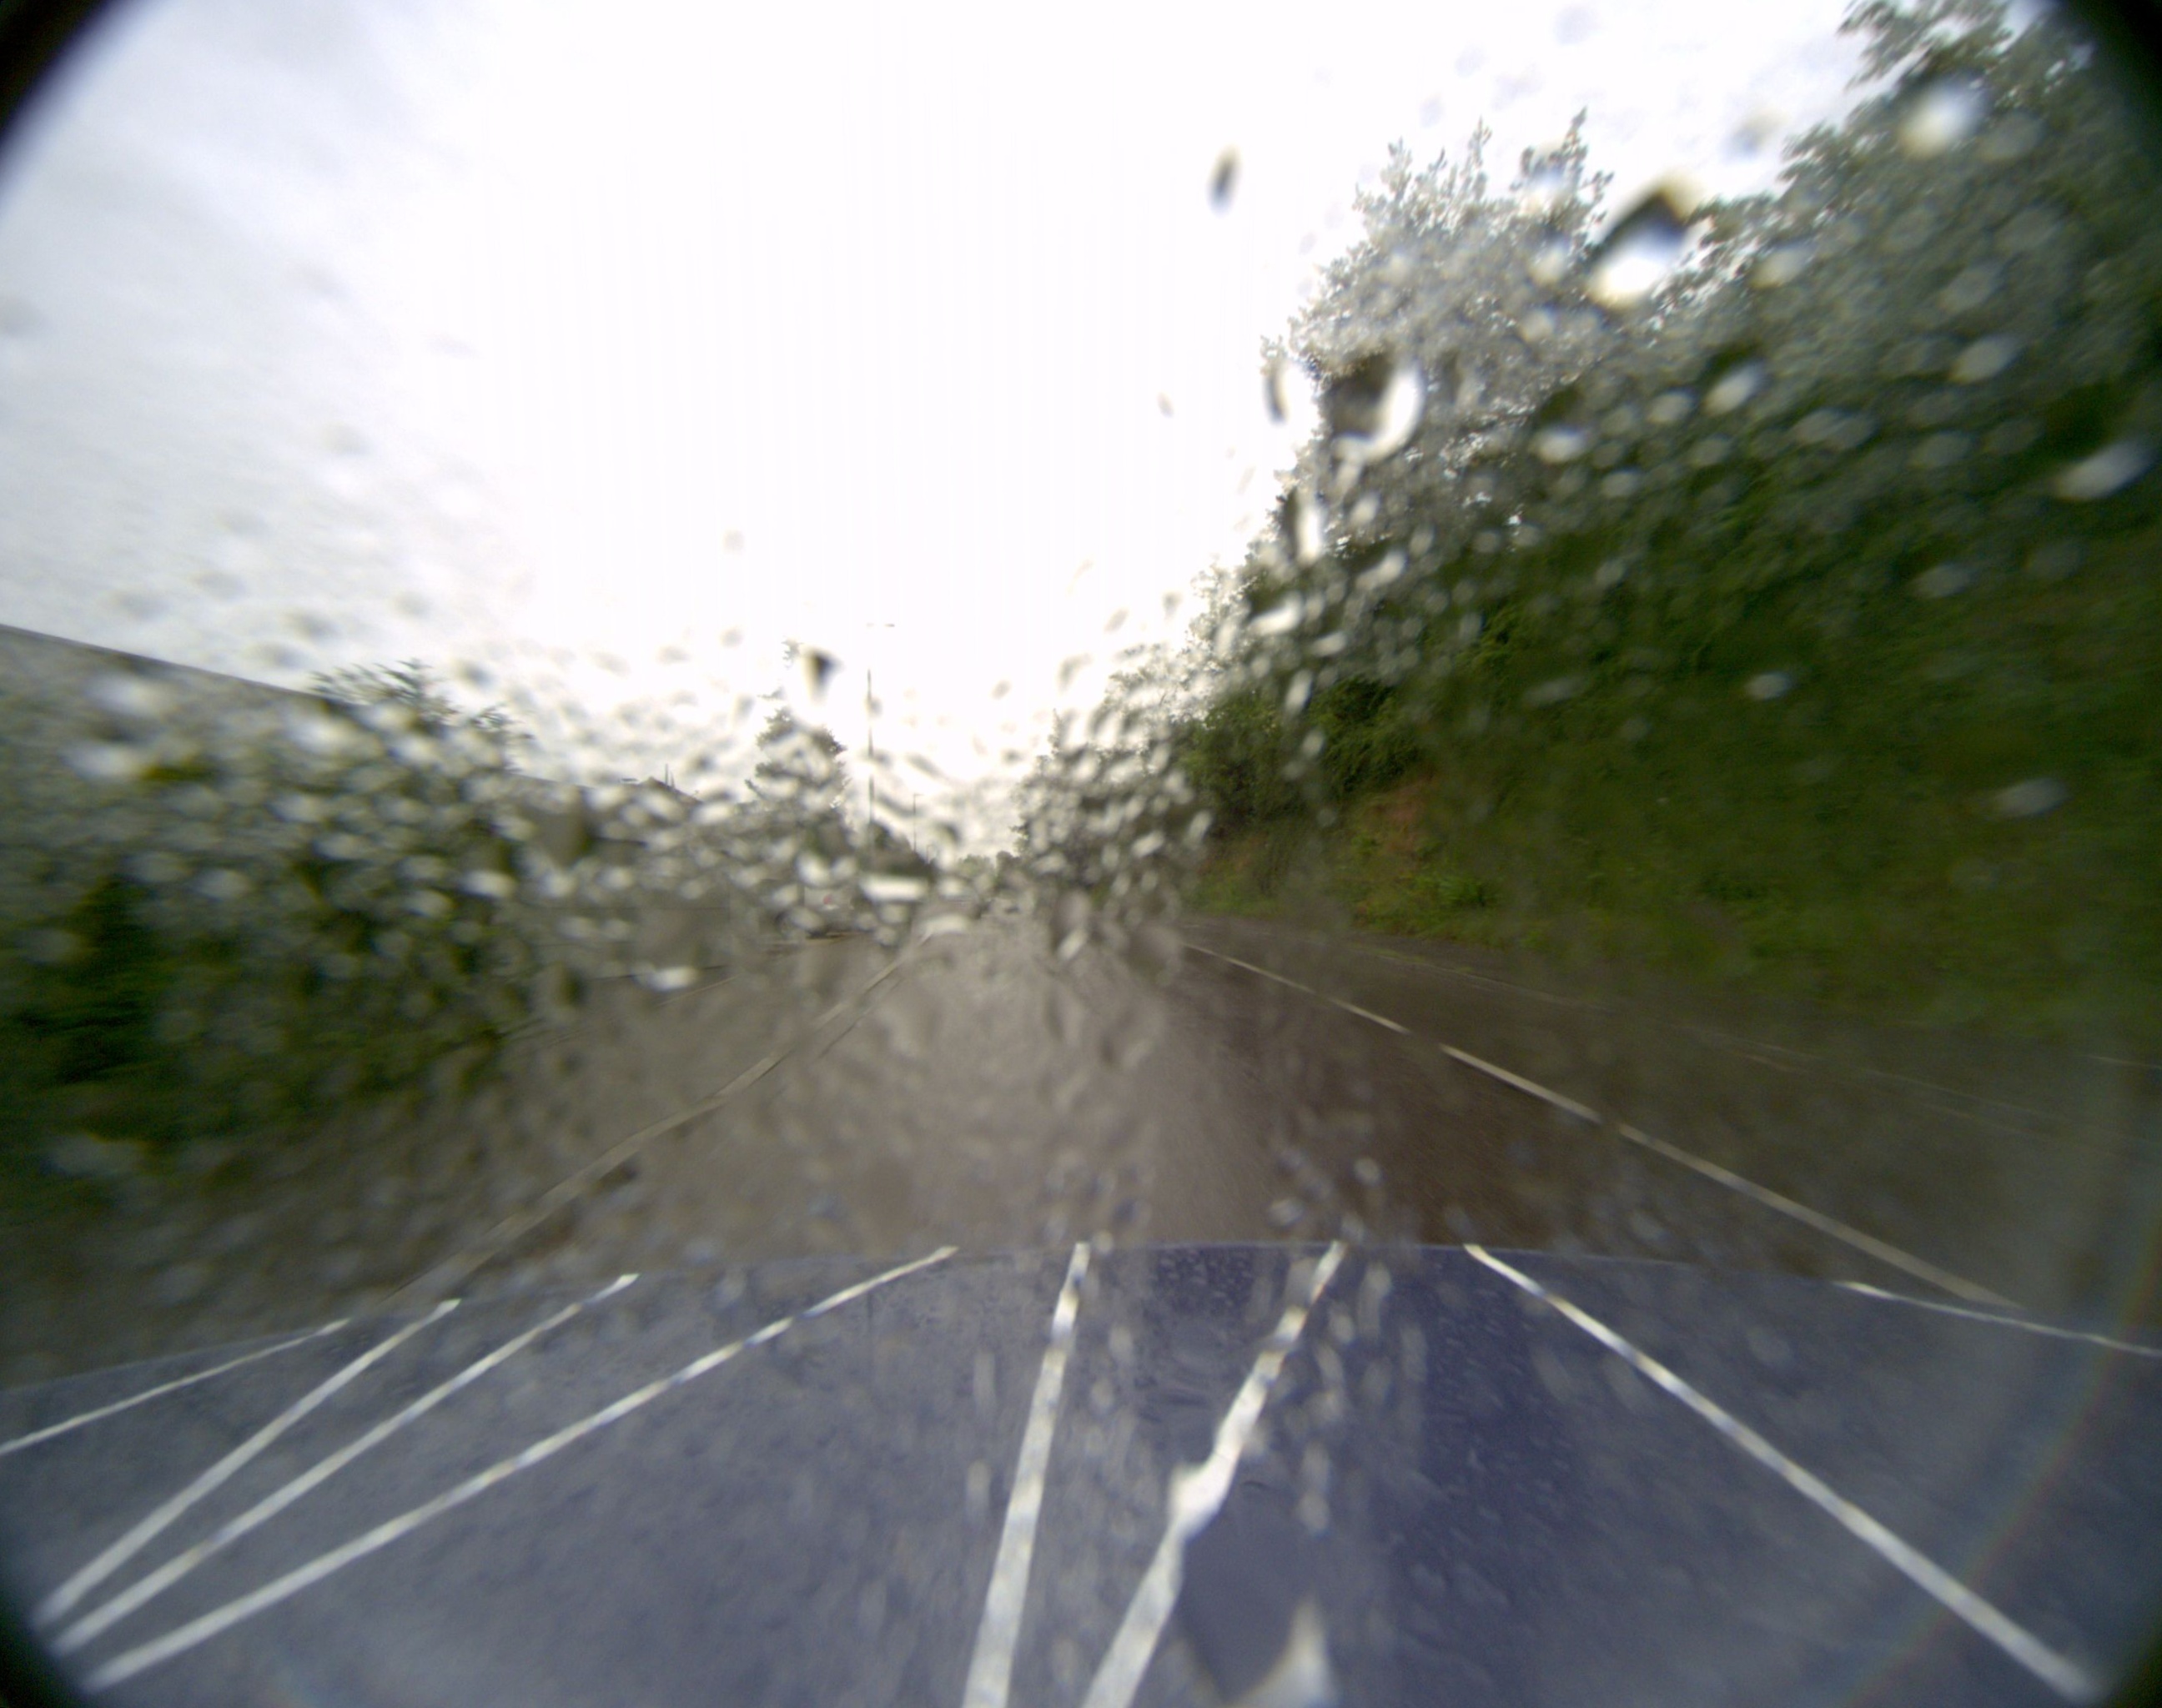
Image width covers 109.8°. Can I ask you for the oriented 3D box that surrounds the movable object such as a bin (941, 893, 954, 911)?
[{"bbox_3d":[-8.497,3.053,48.430,0.731,1.071,0.661,-2,-3,-12],"label":"movable object such as a bin"}]

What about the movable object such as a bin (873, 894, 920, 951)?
[{"bbox_3d":[-3.674,1.359,15.187,0.792,1.089,0.675,2,-1,-7],"label":"movable object such as a bin"}]

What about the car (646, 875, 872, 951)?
[{"bbox_3d":[-7.141,1.293,17.166,4.226,1.406,1.942,-3,-1,3],"label":"car"}]

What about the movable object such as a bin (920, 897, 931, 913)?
[{"bbox_3d":[-10.988,3.601,53.693,0.741,1.081,0.600,1,-4,-7],"label":"movable object such as a bin"}]

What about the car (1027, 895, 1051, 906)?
[{"bbox_3d":[-6.112,6.827,111.039,1.797,1.459,4.224,-4,-4,22],"label":"car"}]

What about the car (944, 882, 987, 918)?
[{"bbox_3d":[-5.673,2.245,36.984,1.882,1.581,4.478,-1,-4,-11],"label":"car"}]

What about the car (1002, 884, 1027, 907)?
[{"bbox_3d":[-6.111,3.833,69.604,2.118,1.961,5.173,-1,-4,-7],"label":"car"}]
